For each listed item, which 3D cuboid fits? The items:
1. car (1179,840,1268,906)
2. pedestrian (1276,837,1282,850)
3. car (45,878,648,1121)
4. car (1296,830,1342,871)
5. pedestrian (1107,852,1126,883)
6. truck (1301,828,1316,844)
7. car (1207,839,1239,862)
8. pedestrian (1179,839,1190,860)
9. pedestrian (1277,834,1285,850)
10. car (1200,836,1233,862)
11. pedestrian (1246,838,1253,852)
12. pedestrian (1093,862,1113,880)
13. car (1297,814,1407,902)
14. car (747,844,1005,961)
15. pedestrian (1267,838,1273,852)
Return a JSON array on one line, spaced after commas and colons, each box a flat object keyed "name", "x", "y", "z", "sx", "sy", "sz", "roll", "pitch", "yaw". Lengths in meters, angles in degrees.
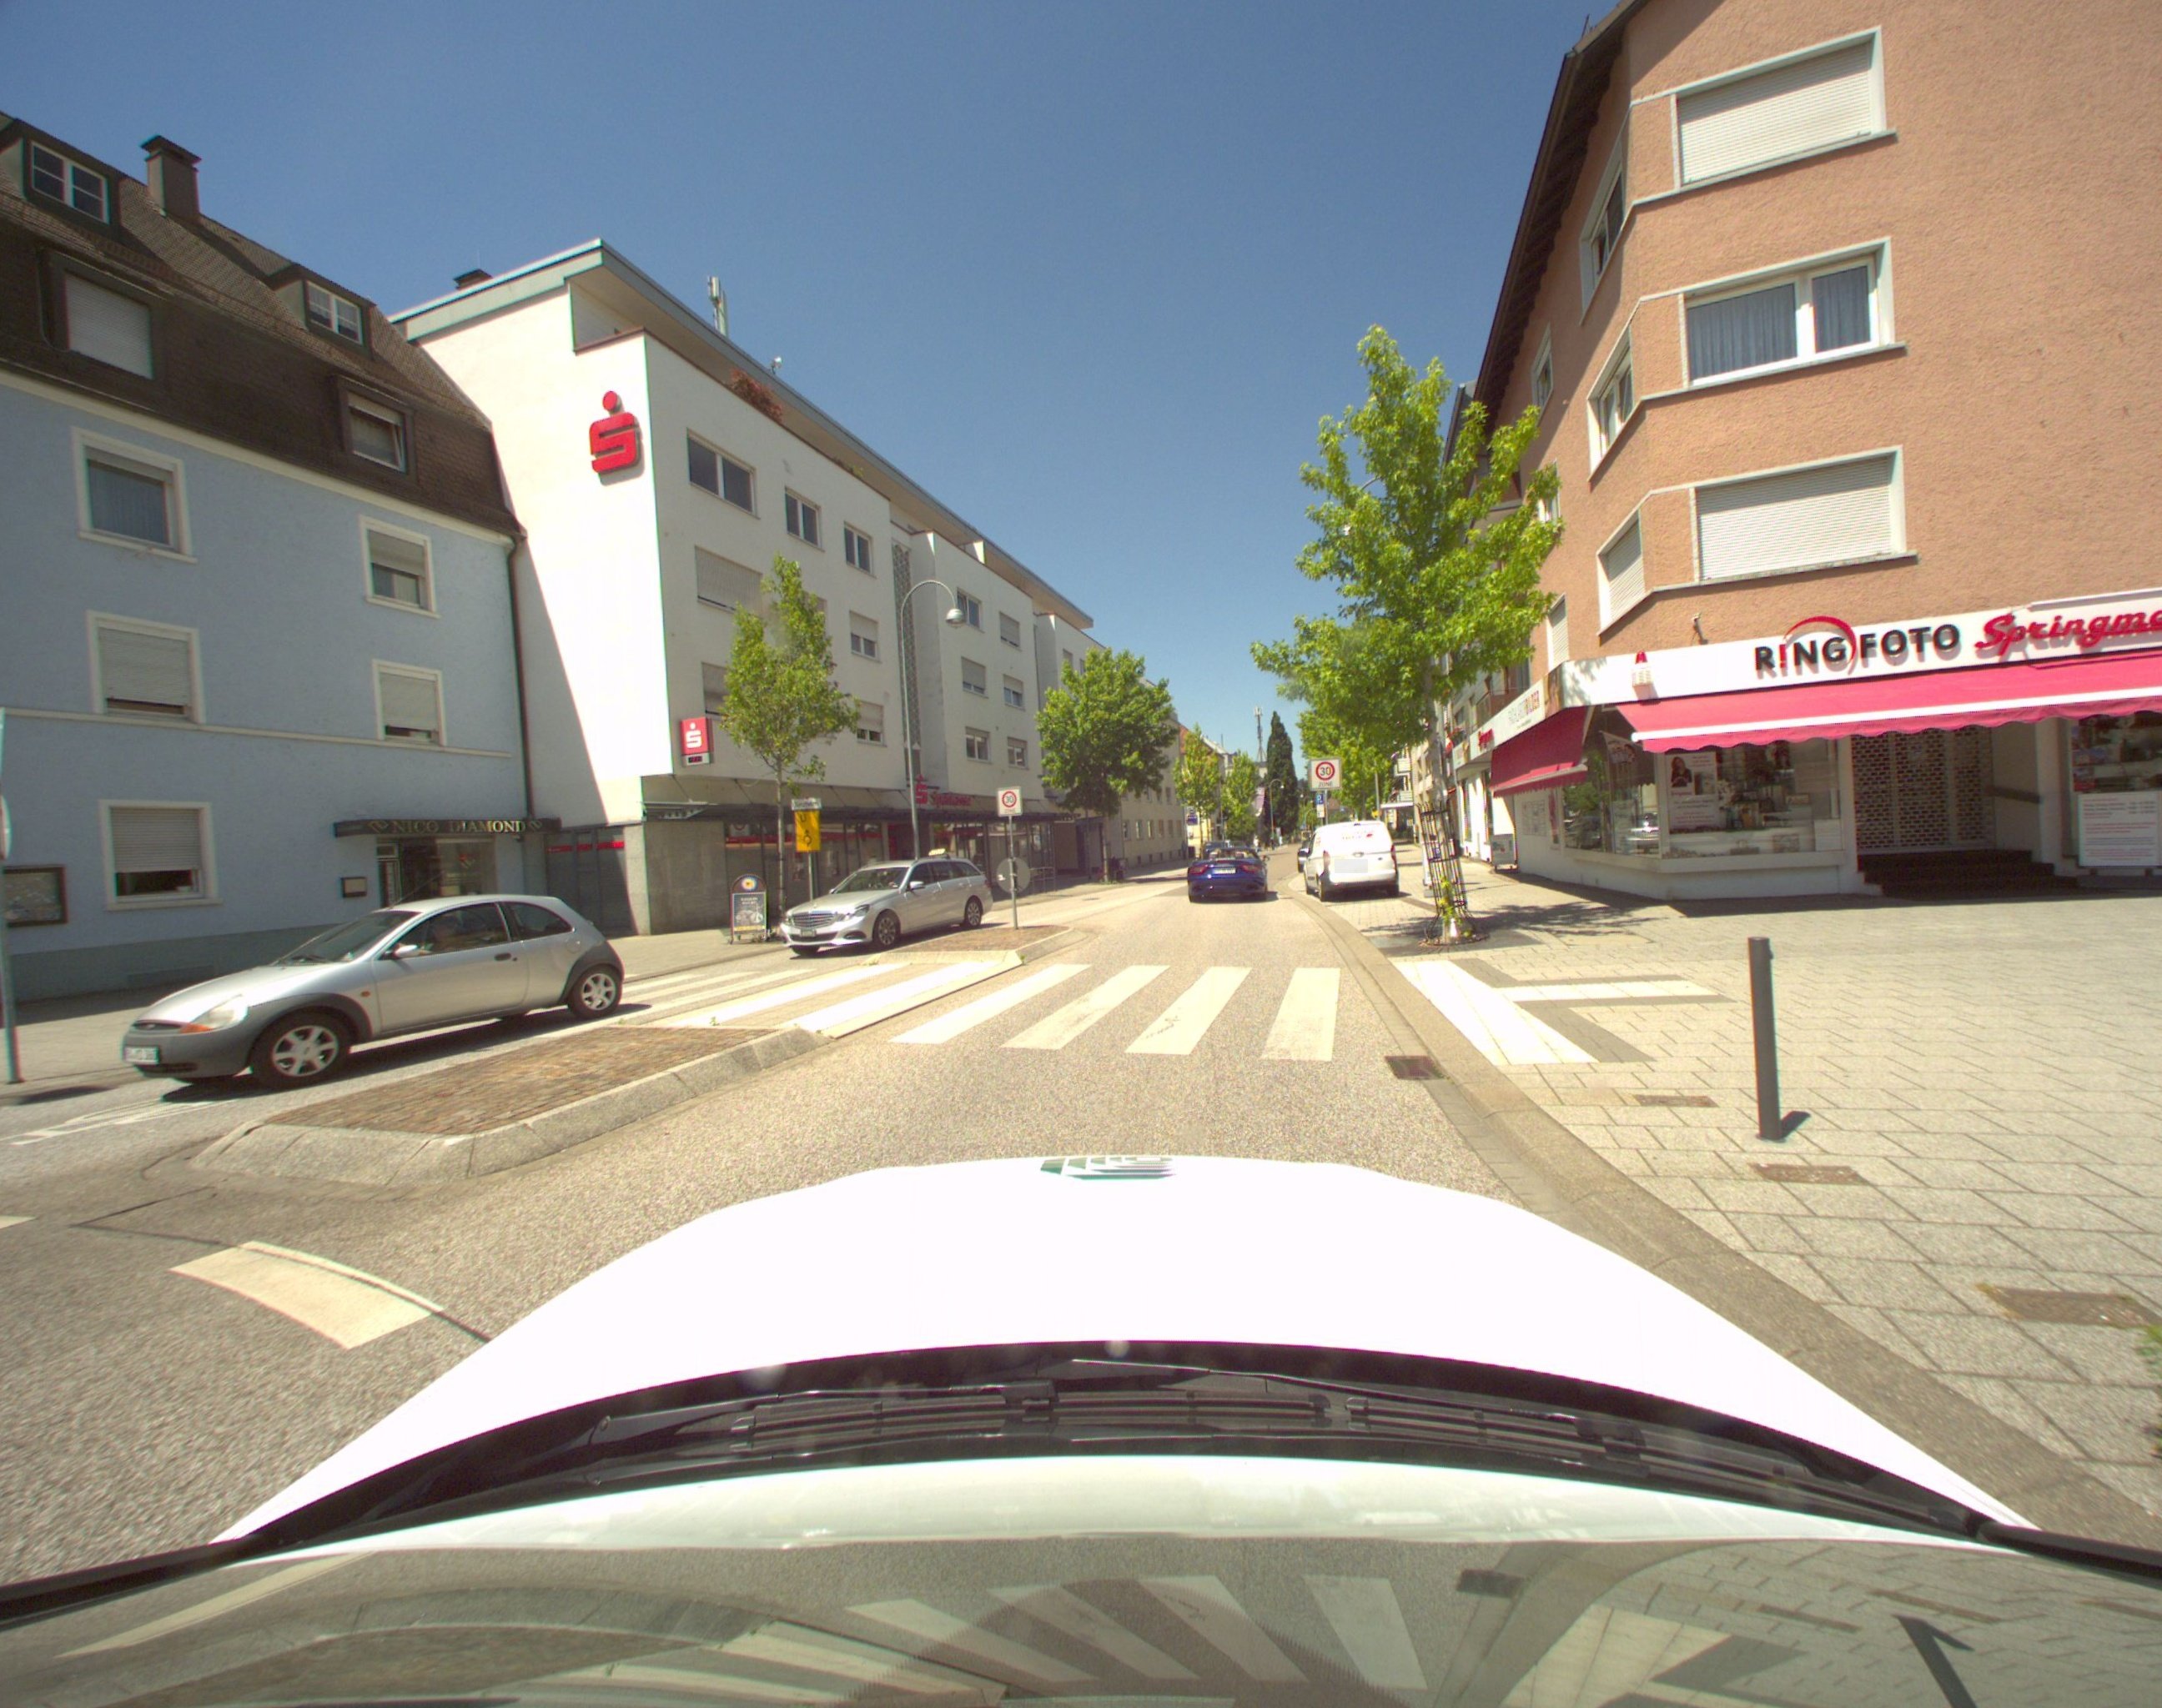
[{"name": "car", "x": 3.766, "y": 0.414, "z": 21.103, "sx": 1.963, "sy": 1.398, "sz": 4.642, "roll": -3, "pitch": 1, "yaw": 12}, {"name": "pedestrian", "x": 25.586, "y": -1.366, "z": 105.160, "sx": 0.582, "sy": 1.574, "sz": 0.785, "roll": -4, "pitch": 0, "yaw": 18}, {"name": "car", "x": -6.457, "y": 1.132, "z": 7.742, "sx": 1.684, "sy": 1.458, "sz": 3.811, "roll": -5, "pitch": 0, "yaw": 23}, {"name": "car", "x": 10.421, "y": -0.187, "z": 35.563, "sx": 1.609, "sy": 1.559, "sz": 3.860, "roll": -4, "pitch": 0, "yaw": 19}, {"name": "pedestrian", "x": 1.654, "y": 0.622, "z": 38.255, "sx": 0.562, "sy": 1.372, "sz": 0.671, "roll": -5, "pitch": -1, "yaw": 28}, {"name": "truck", "x": 33.955, "y": -2.685, "z": 121.485, "sx": 1.789, "sy": 2.117, "sz": 4.739, "roll": -5, "pitch": 1, "yaw": 20}, {"name": "car", "x": 11.166, "y": -0.322, "z": 64.000, "sx": 1.809, "sy": 1.619, "sz": 4.414, "roll": -2, "pitch": 1, "yaw": 18}, {"name": "pedestrian", "x": 8.816, "y": -0.409, "z": 69.328, "sx": 0.653, "sy": 1.680, "sz": 0.632, "roll": -6, "pitch": 2, "yaw": 2}, {"name": "pedestrian", "x": 25.767, "y": -1.592, "z": 104.959, "sx": 0.842, "sy": 1.915, "sz": 0.765, "roll": -5, "pitch": 2, "yaw": 17}, {"name": "car", "x": 9.863, "y": -0.388, "z": 58.992, "sx": 1.715, "sy": 1.740, "sz": 4.413, "roll": -1, "pitch": 2, "yaw": 18}, {"name": "pedestrian", "x": 17.884, "y": -0.972, "z": 86.504, "sx": 0.574, "sy": 1.474, "sz": 0.567, "roll": -4, "pitch": 0, "yaw": 18}, {"name": "pedestrian", "x": 1.085, "y": 0.837, "z": 39.553, "sx": 0.658, "sy": 0.858, "sz": 0.737, "roll": -5, "pitch": -4, "yaw": 28}, {"name": "car", "x": 6.266, "y": 0.068, "z": 19.240, "sx": 1.737, "sy": 1.724, "sz": 3.921, "roll": -5, "pitch": 0, "yaw": 9}, {"name": "car", "x": -3.493, "y": 0.762, "z": 15.150, "sx": 1.976, "sy": 1.592, "sz": 5.026, "roll": -5, "pitch": 0, "yaw": 21}, {"name": "pedestrian", "x": 20.654, "y": -0.975, "z": 88.931, "sx": 0.574, "sy": 1.474, "sz": 0.567, "roll": -4, "pitch": 0, "yaw": 18}]
